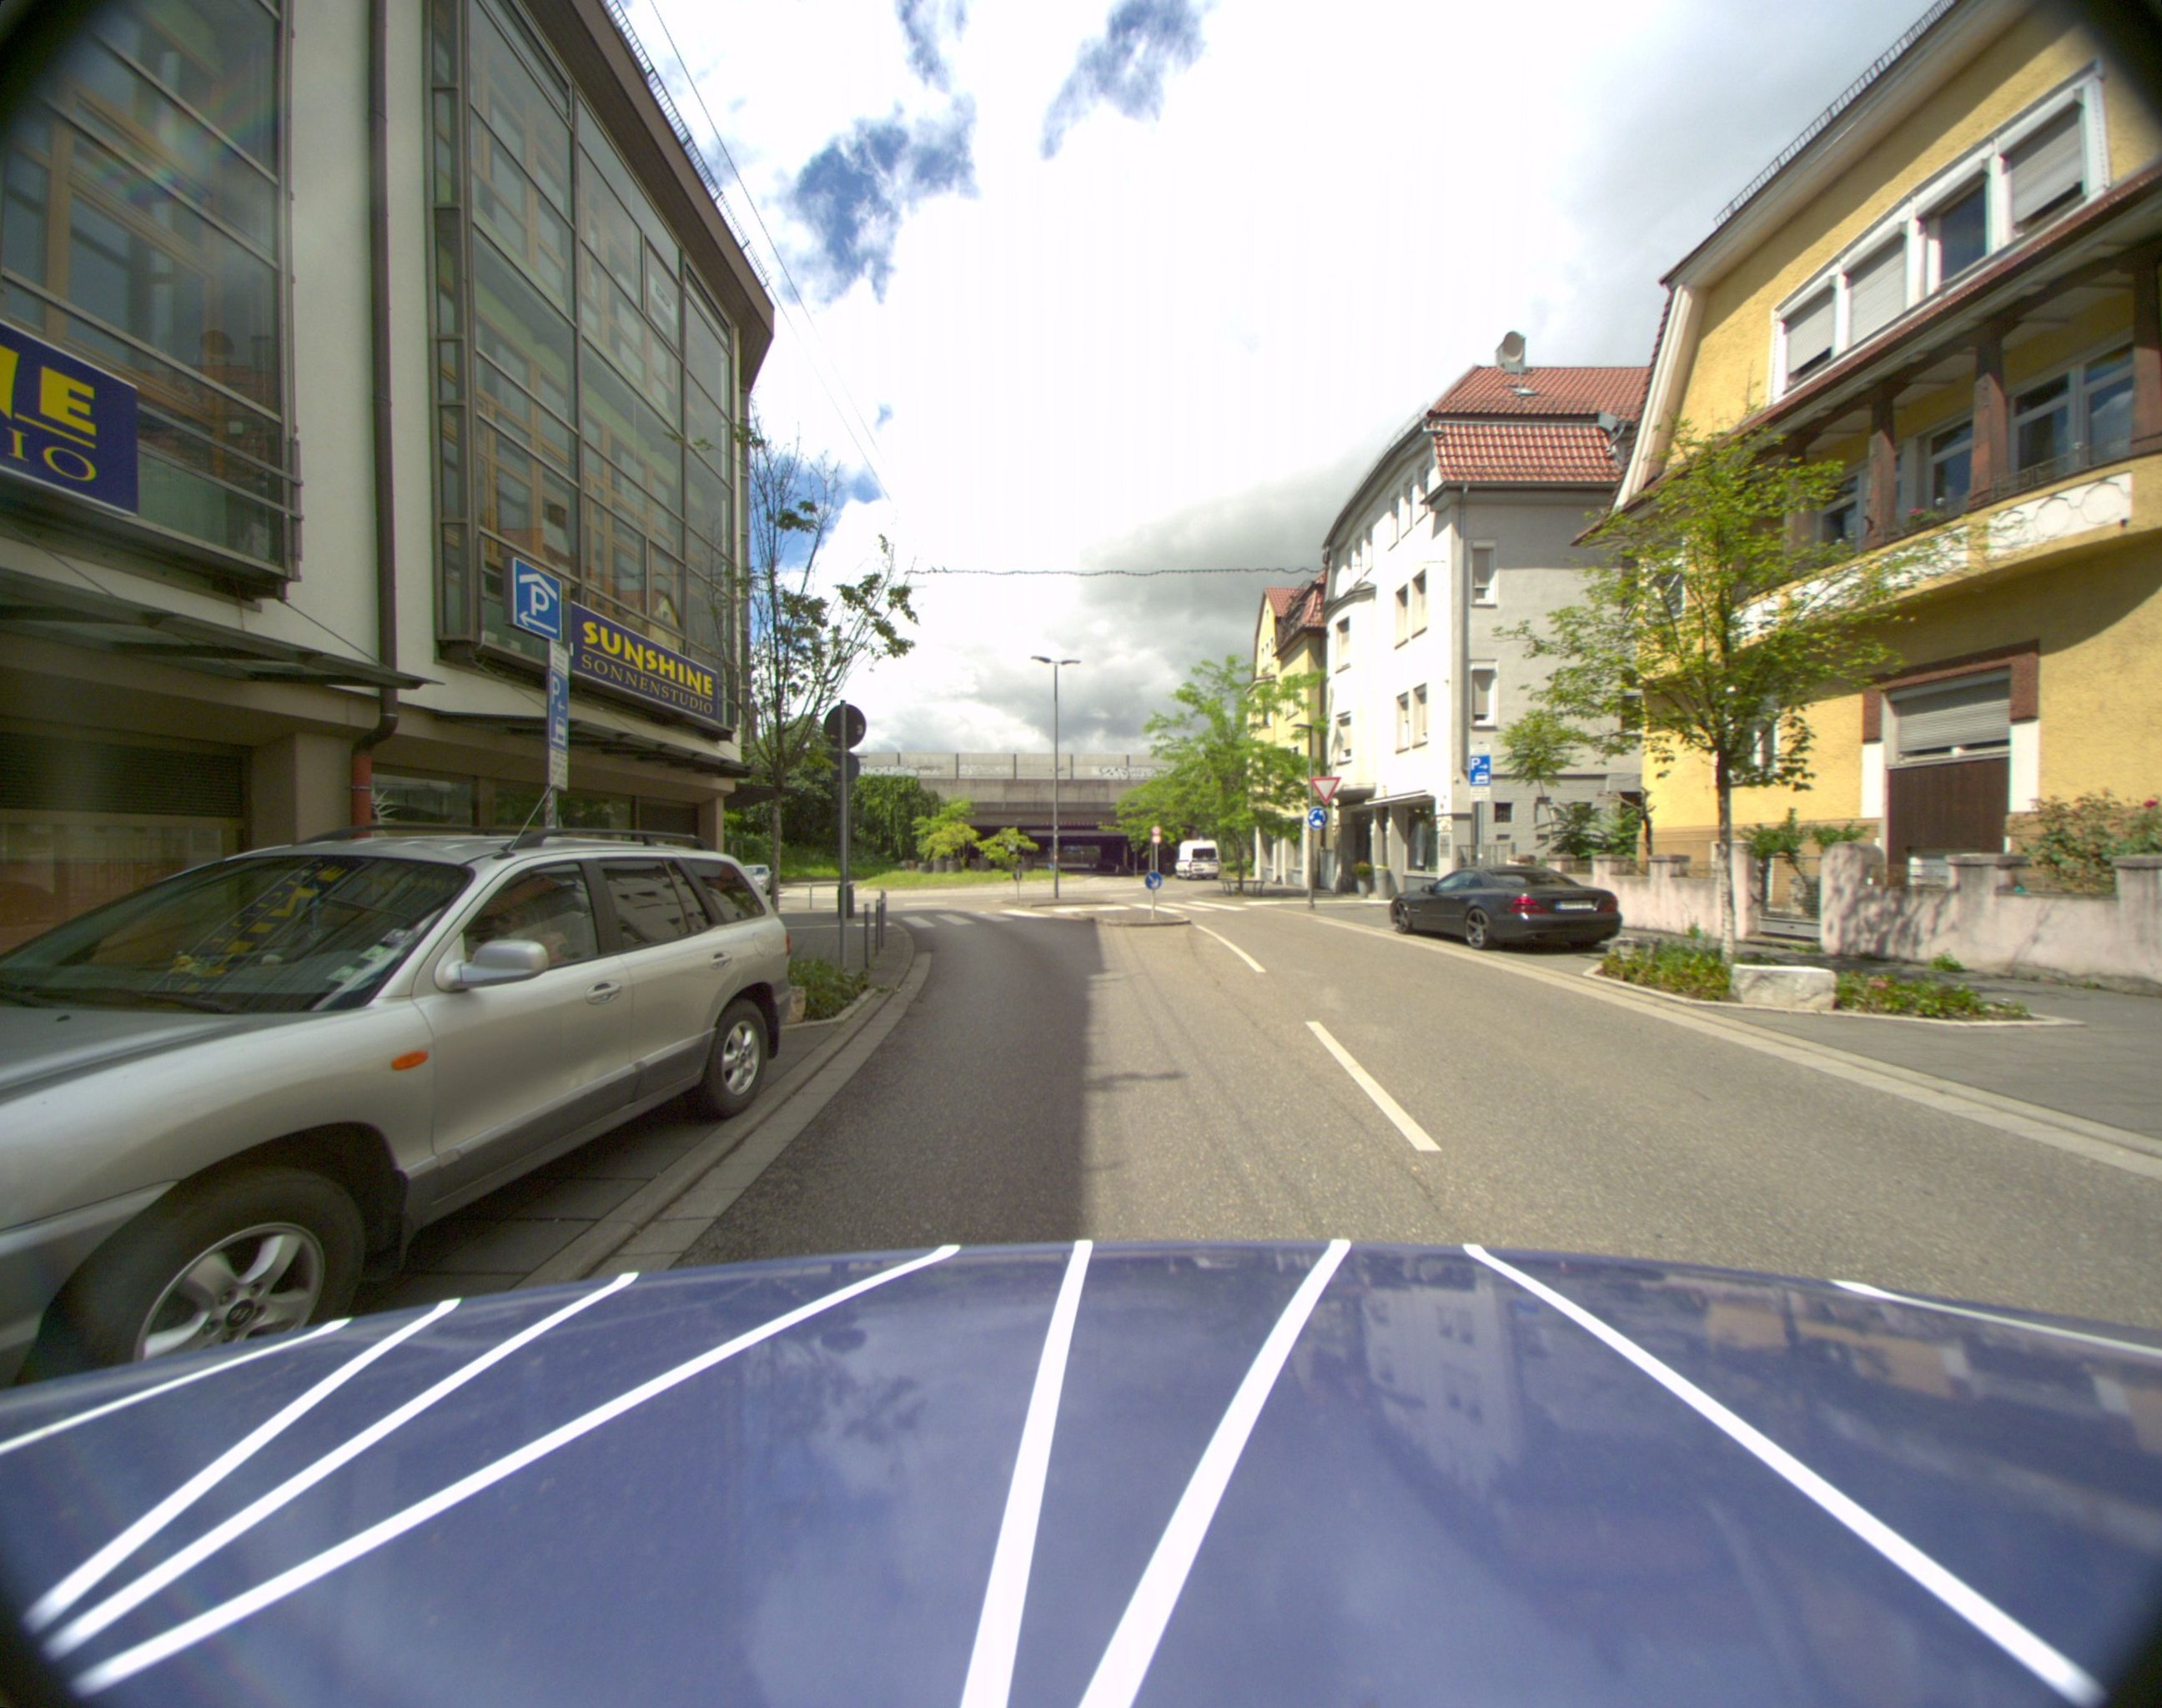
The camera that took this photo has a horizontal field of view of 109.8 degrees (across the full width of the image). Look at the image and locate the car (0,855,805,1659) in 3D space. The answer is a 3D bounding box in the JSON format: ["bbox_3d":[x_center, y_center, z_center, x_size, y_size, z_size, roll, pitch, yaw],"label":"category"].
[{"bbox_3d":[-3.048,0.856,3.178,1.825,1.652,4.468,1,0,5],"label":"car"}]

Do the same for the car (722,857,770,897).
[{"bbox_3d":[-16.435,1.083,37.370,2.002,1.783,3.992,-3,1,-23],"label":"car"}]

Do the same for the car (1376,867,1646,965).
[{"bbox_3d":[6.762,0.883,12.624,1.722,1.296,4.465,-1,-1,-4],"label":"car"}]

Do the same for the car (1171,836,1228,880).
[{"bbox_3d":[7.816,0.236,51.173,2.309,2.657,7.267,-2,1,-3],"label":"car"}]
